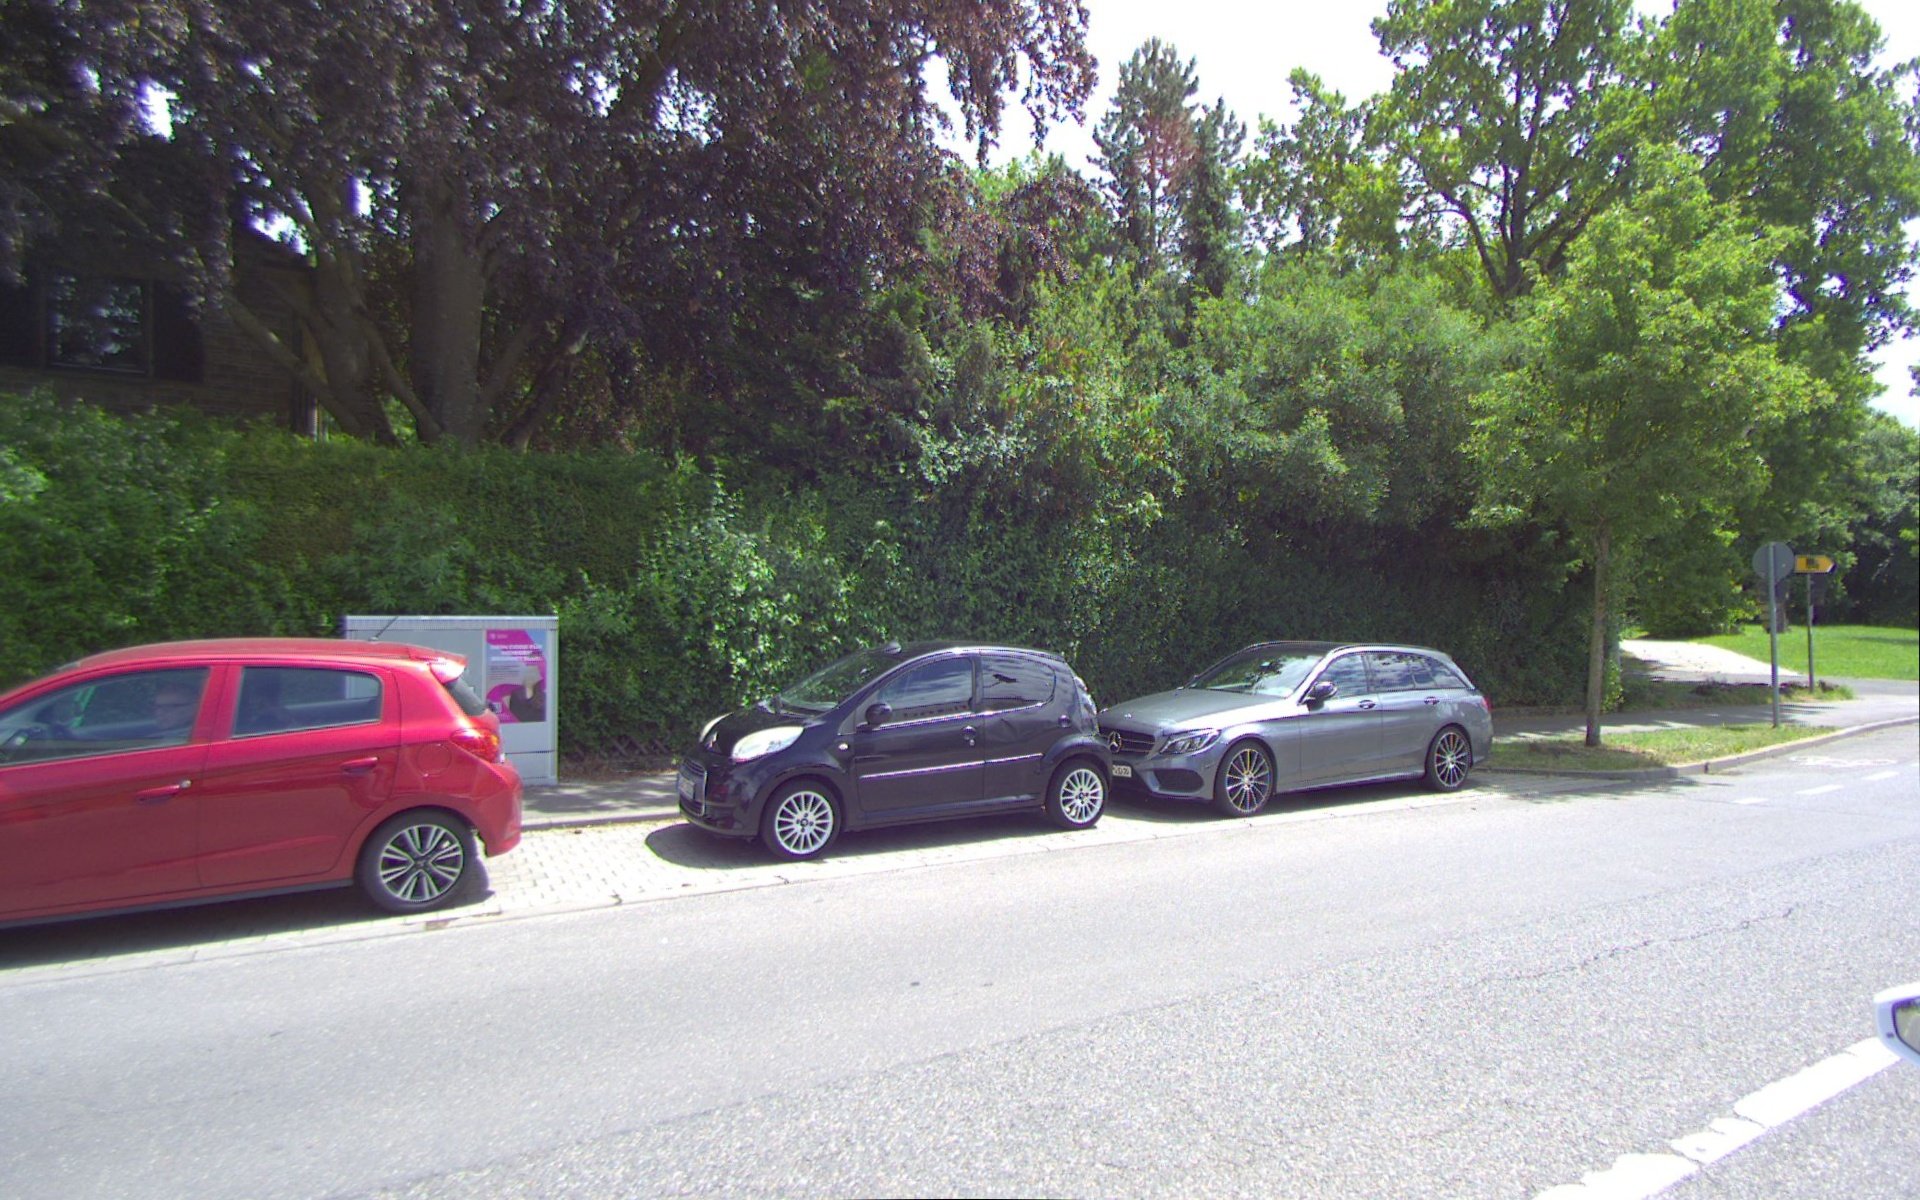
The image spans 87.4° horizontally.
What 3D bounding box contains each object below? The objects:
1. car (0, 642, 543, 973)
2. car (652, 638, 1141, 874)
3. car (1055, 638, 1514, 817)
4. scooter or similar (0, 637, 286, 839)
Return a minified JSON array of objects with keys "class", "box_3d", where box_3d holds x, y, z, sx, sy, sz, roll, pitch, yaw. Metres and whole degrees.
[{"class":"car","box_3d":[-4.555,0.982,5.437,4.057,1.470,1.641,1,-1,-31]},{"class":"car","box_3d":[-0.465,1.054,7.983,3.552,1.470,1.589,1,-1,-29]},{"class":"car","box_3d":[3.313,1.092,9.941,4.631,1.383,1.687,1,-1,-31]},{"class":"scooter or similar","box_3d":[-6.342,1.019,7.919,1.628,1.431,0.667,1,-1,-29]}]
